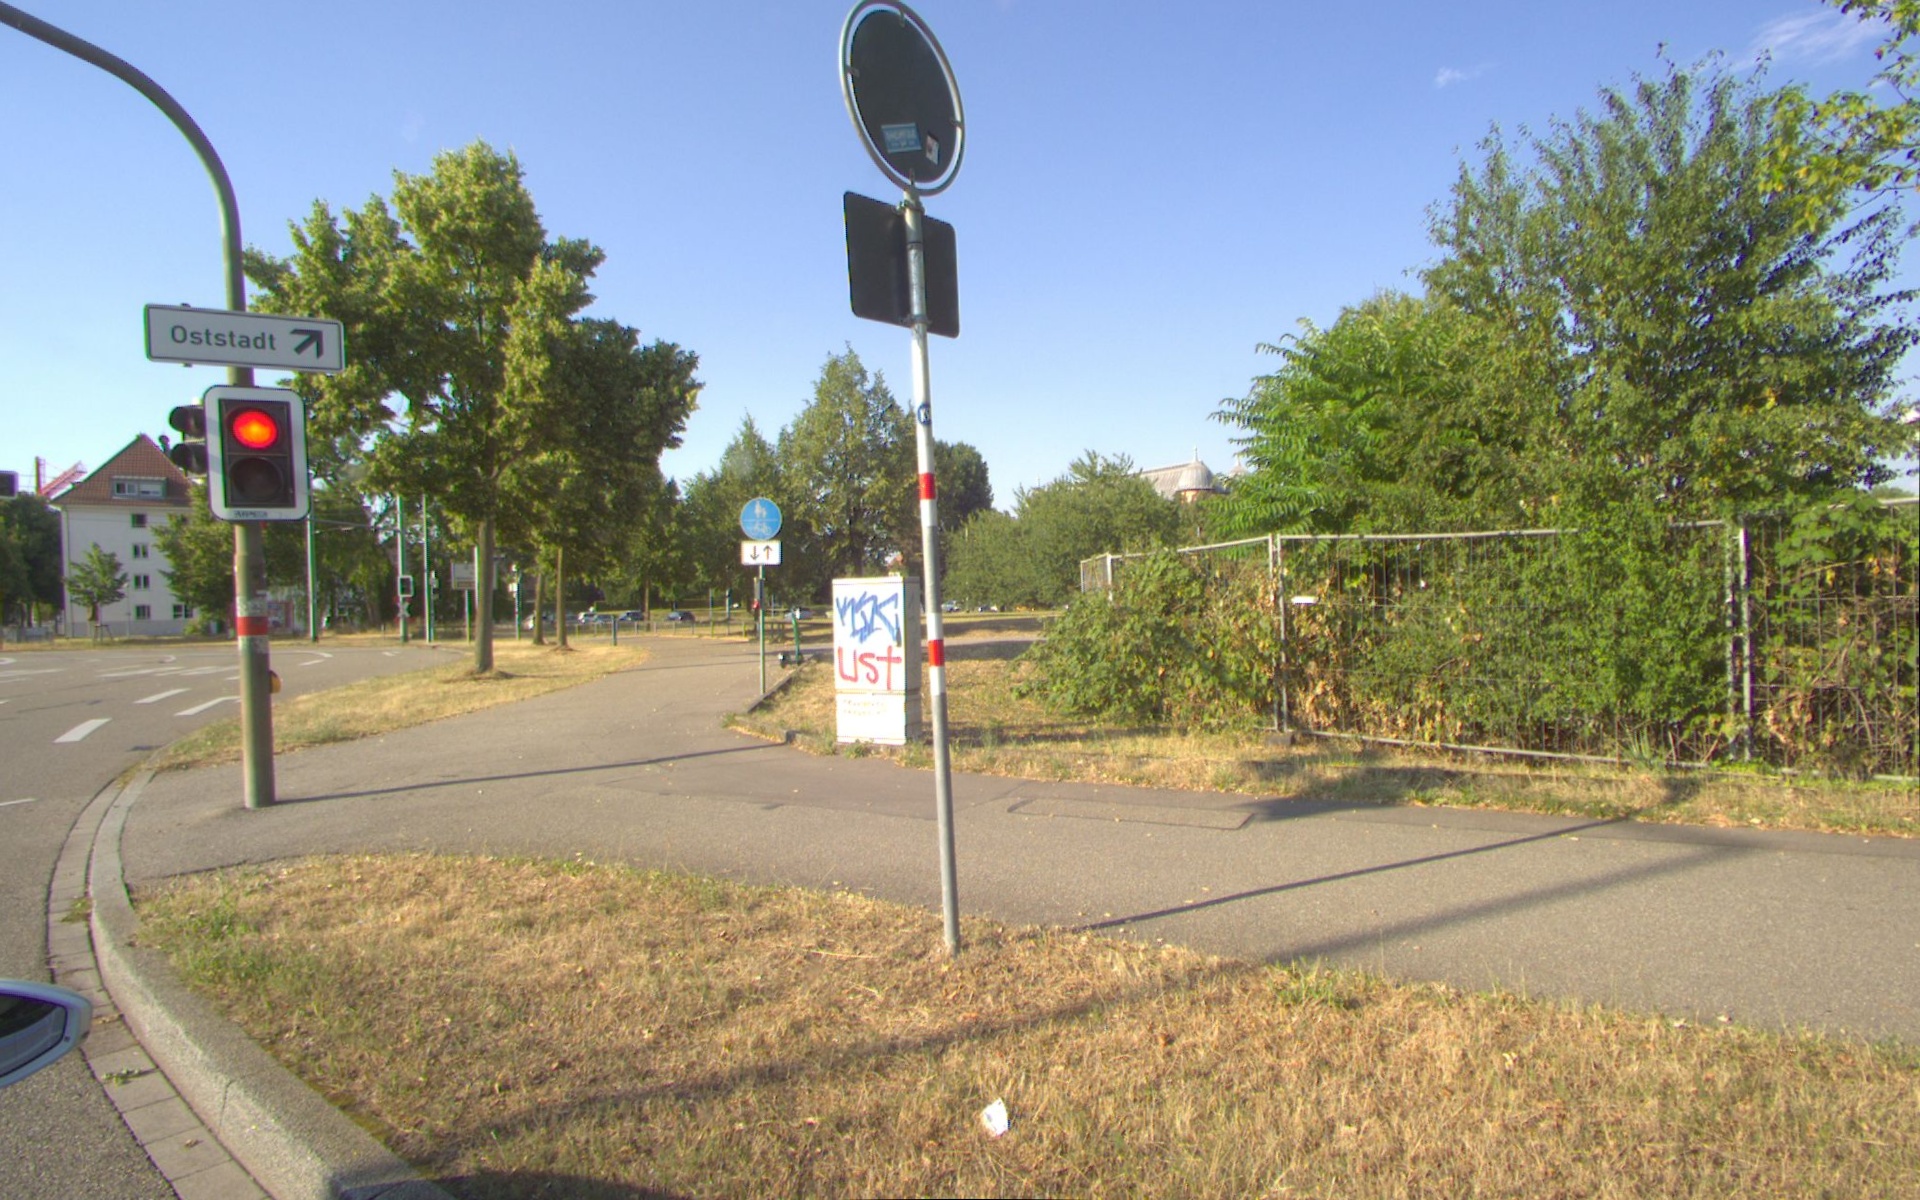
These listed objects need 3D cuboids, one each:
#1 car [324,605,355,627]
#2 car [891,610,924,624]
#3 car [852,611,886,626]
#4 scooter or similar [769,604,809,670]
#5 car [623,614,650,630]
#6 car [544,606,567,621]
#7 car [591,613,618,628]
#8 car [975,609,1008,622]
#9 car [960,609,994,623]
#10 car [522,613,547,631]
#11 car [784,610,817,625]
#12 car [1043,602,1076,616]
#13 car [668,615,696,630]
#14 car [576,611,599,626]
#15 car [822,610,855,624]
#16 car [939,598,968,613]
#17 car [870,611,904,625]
[{"bbox_3d":[-48.256,1.256,77.935,1.751,1.639,3.950,-1,0,-29],"label":"car"},{"bbox_3d":[-5.599,1.783,106.879,1.803,1.421,3.976,-1,-1,-33],"label":"car"},{"bbox_3d":[-9.490,1.940,104.271,1.802,1.421,3.976,-3,0,-33],"label":"car"},{"bbox_3d":[-3.286,0.688,19.312,0.336,1.175,1.169,-4,2,8],"label":"scooter or similar"},{"bbox_3d":[-29.251,2.009,90.583,1.583,1.420,3.950,-1,0,-29],"label":"car"},{"bbox_3d":[-39.535,1.349,97.741,1.583,1.420,3.950,-1,0,-29],"label":"car"},{"bbox_3d":[-31.788,1.836,89.483,1.583,1.237,3.950,-1,-1,-29],"label":"car"},{"bbox_3d":[3.514,1.785,113.218,1.803,1.421,3.976,-1,-1,-33],"label":"car"},{"bbox_3d":[1.849,1.774,111.427,1.803,1.421,3.976,-1,-1,-33],"label":"car"},{"bbox_3d":[-36.743,1.892,86.480,1.583,1.420,3.950,-1,0,-29],"label":"car"},{"bbox_3d":[-15.927,1.774,100.010,1.803,1.421,3.976,-1,-1,-33],"label":"car"},{"bbox_3d":[11.747,1.090,118.440,1.803,1.589,3.976,-1,0,-33],"label":"car"},{"bbox_3d":[-25.748,2.065,92.770,1.583,1.327,3.950,-1,-1,-29],"label":"car"},{"bbox_3d":[-37.079,1.891,99.614,1.583,1.420,3.950,-1,0,-29],"label":"car"},{"bbox_3d":[-12.517,1.761,103.163,1.803,1.421,3.976,-1,-1,-33],"label":"car"},{"bbox_3d":[-0.815,0.691,123.488,1.803,1.694,3.976,-1,0,-33],"label":"car"},{"bbox_3d":[-7.690,1.888,105.519,1.803,1.421,3.976,-1,-1,-33],"label":"car"}]
